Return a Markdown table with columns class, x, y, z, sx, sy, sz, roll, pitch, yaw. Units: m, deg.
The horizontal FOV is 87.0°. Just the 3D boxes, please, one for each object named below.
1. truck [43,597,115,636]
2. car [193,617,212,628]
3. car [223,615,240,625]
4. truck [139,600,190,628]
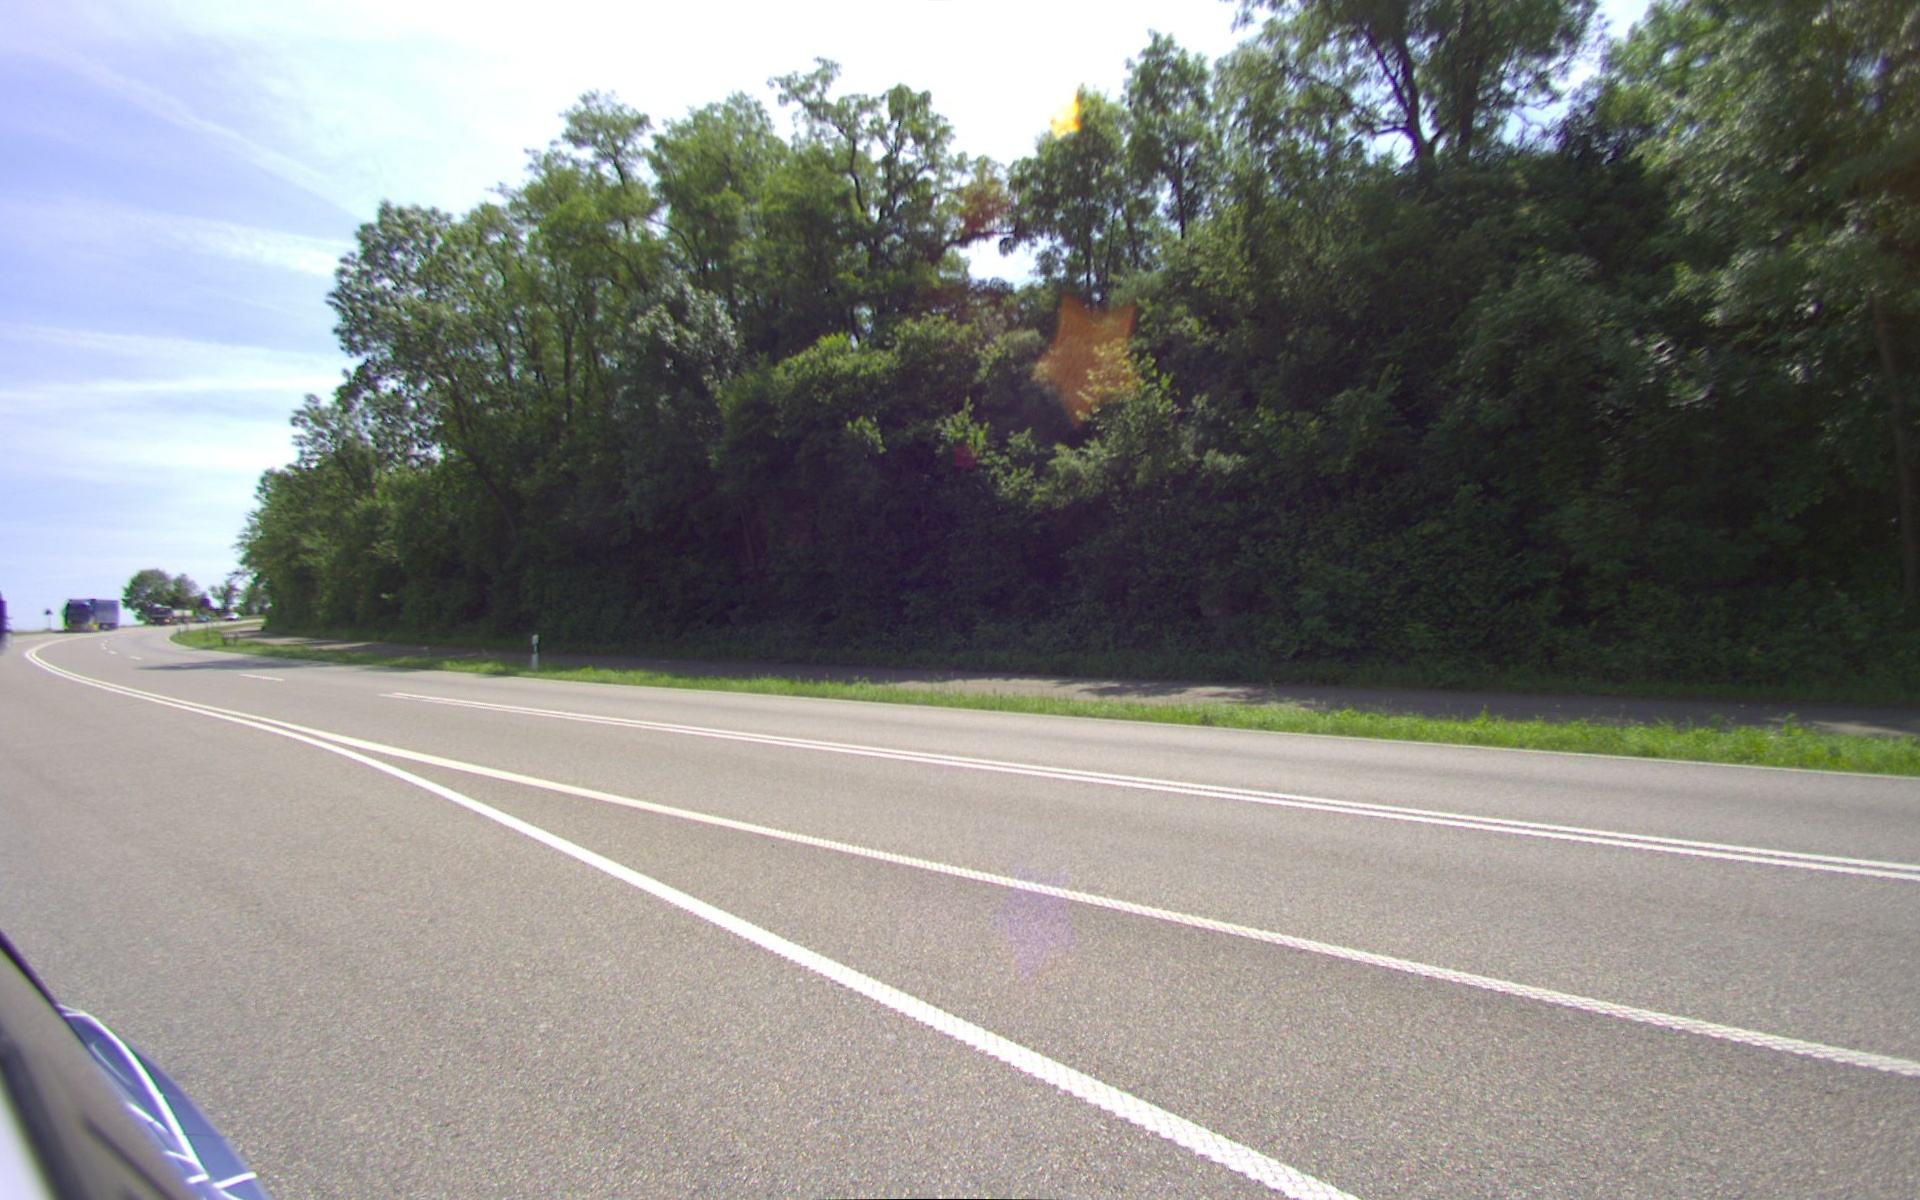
| class | x | y | z | sx | sy | sz | roll | pitch | yaw |
| --- | --- | --- | --- | --- | --- | --- | --- | --- | --- |
| truck | -109.235 | 2.008 | 125.773 | 4.327 | 4.493 | 14.754 | -1 | -1 | -32 |
| car | -140.230 | 4.125 | 187.376 | 1.886 | 2.029 | 4.189 | 0 | 0 | -23 |
| car | -146.746 | 4.020 | 203.826 | 1.826 | 2.029 | 3.900 | 0 | 0 | -21 |
| truck | -131.208 | 2.335 | 167.215 | 3.920 | 4.493 | 14.386 | -1 | -1 | -27 |
